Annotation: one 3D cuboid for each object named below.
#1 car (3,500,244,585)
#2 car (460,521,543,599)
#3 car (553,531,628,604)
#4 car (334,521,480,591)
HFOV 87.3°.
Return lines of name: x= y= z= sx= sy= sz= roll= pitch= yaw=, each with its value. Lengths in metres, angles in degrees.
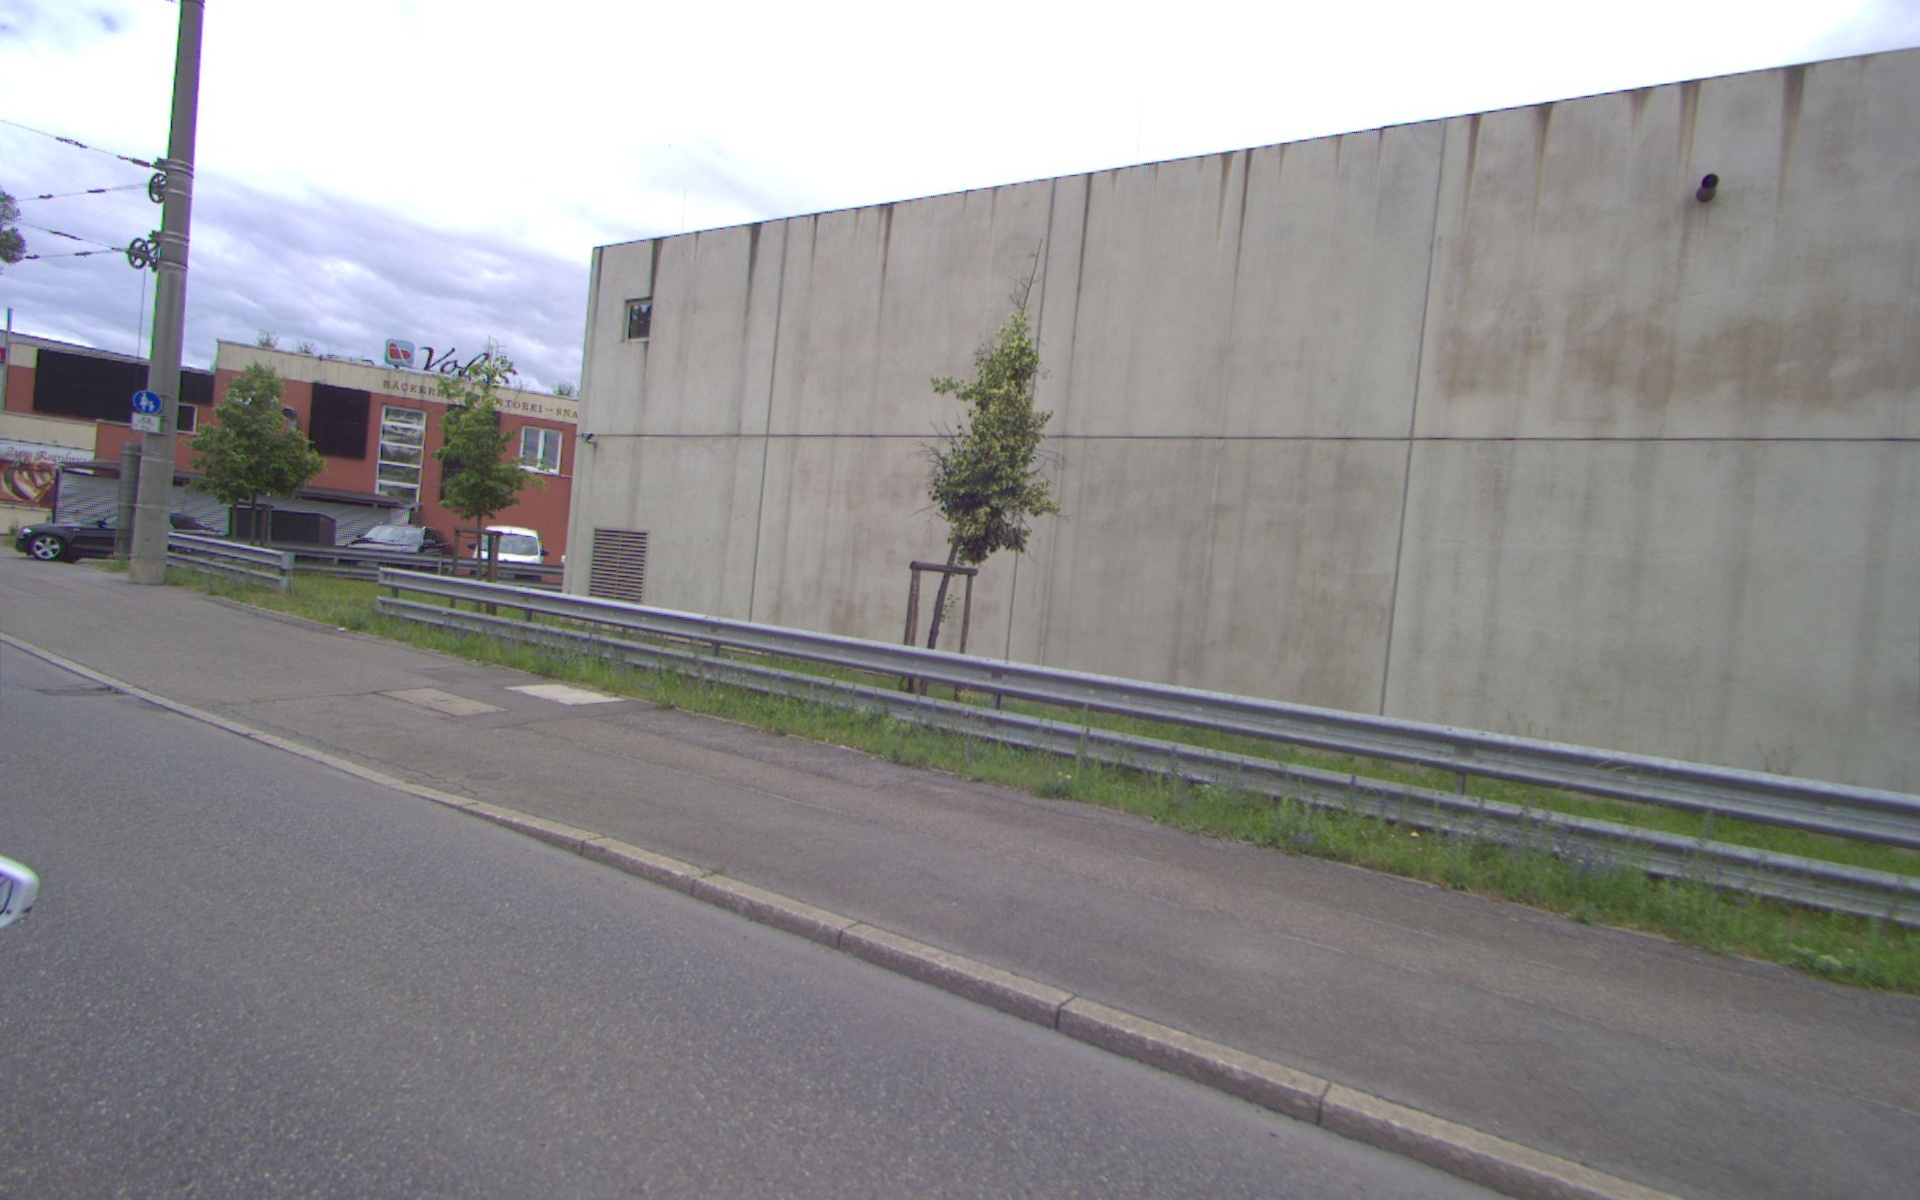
car: x=-20.412 y=-1.368 z=24.810 sx=4.185 sy=1.460 sz=1.751 roll=7 pitch=0 yaw=-28
car: x=-12.849 y=-1.123 z=28.395 sx=1.835 sy=1.855 sz=4.516 roll=5 pitch=1 yaw=-23
car: x=-11.069 y=-0.971 z=29.960 sx=1.793 sy=1.855 sz=4.417 roll=5 pitch=1 yaw=-22
car: x=-15.176 y=-1.157 z=27.921 sx=2.124 sy=1.568 sz=4.511 roll=5 pitch=0 yaw=-10
